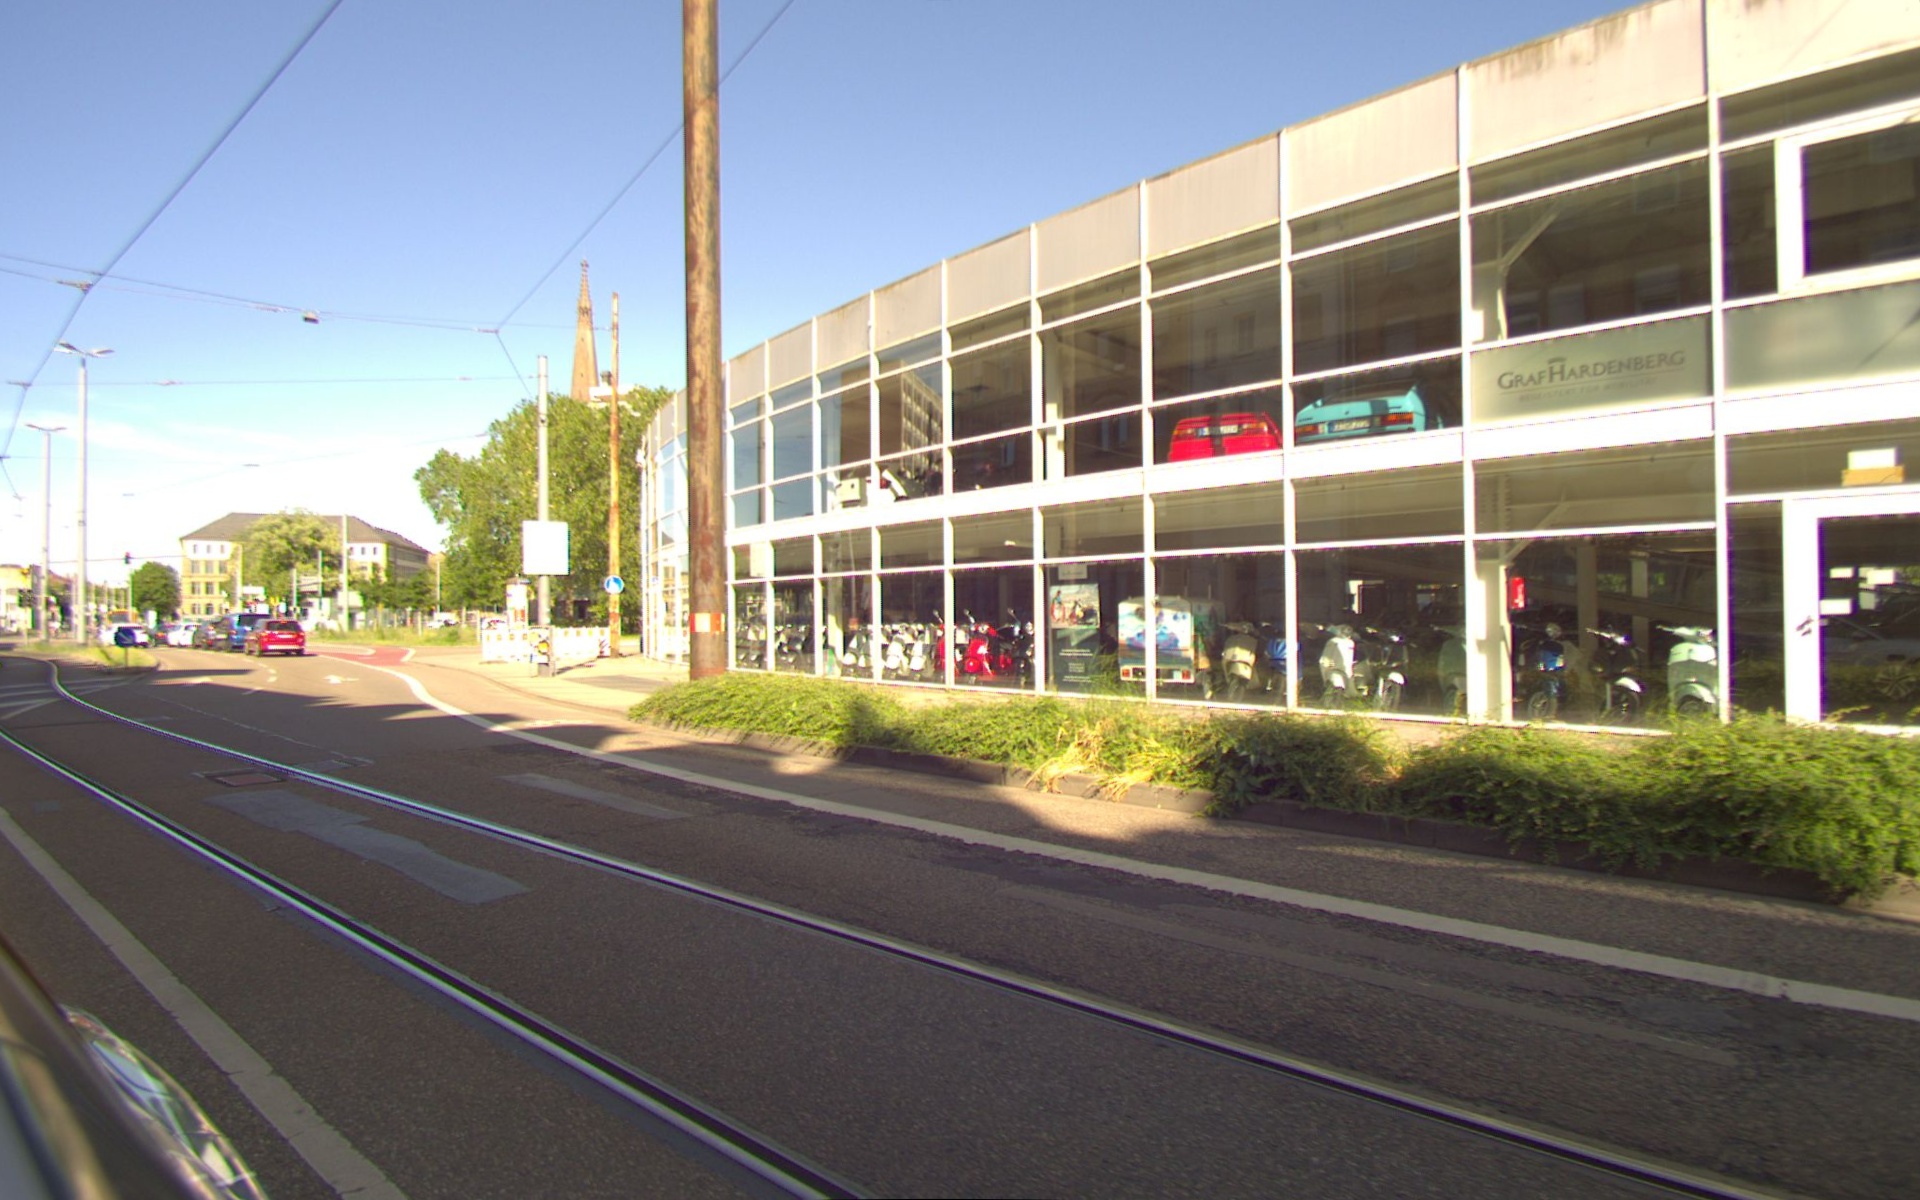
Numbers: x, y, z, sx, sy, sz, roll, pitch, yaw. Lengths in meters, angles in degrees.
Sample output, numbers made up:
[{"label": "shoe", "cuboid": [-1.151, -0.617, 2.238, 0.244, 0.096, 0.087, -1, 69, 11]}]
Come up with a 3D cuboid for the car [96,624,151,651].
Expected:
[{"label": "car", "cuboid": [-48.484, 2.140, 58.629, 4.539, 1.443, 1.784, -1, 1, 42]}]

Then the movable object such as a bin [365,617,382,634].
[{"label": "movable object such as a bin", "cuboid": [-56.730, 2.458, 97.913, 0.926, 1.646, 0.989, -1, 1, 7]}]

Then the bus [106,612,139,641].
[{"label": "bus", "cuboid": [-109.881, 3.424, 132.838, 2.804, 3.144, 11.846, -2, 2, -37]}]

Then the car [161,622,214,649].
[{"label": "car", "cuboid": [-46.066, 2.089, 60.325, 3.999, 1.443, 1.784, -1, 1, 42]}]

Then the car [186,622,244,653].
[{"label": "car", "cuboid": [-40.853, 2.038, 55.468, 4.164, 1.590, 1.783, -1, -1, 42]}]

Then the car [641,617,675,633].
[{"label": "car", "cuboid": [-30.070, 2.440, 100.849, 1.974, 1.510, 3.996, -1, -1, 3]}]

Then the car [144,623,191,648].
[{"label": "car", "cuboid": [-49.890, 2.205, 63.662, 3.970, 1.490, 1.632, -1, -2, 42]}]

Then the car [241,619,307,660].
[{"label": "car", "cuboid": [-30.992, 1.736, 45.663, 1.778, 1.732, 4.420, 1, -1, -43]}]

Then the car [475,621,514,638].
[{"label": "car", "cuboid": [-54.625, 3.500, 118.653, 3.932, 1.765, 2.006, -2, 1, -30]}]

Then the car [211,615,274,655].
[{"label": "car", "cuboid": [-36.037, 1.720, 50.794, 4.166, 1.948, 1.783, -1, -1, 44]}]
